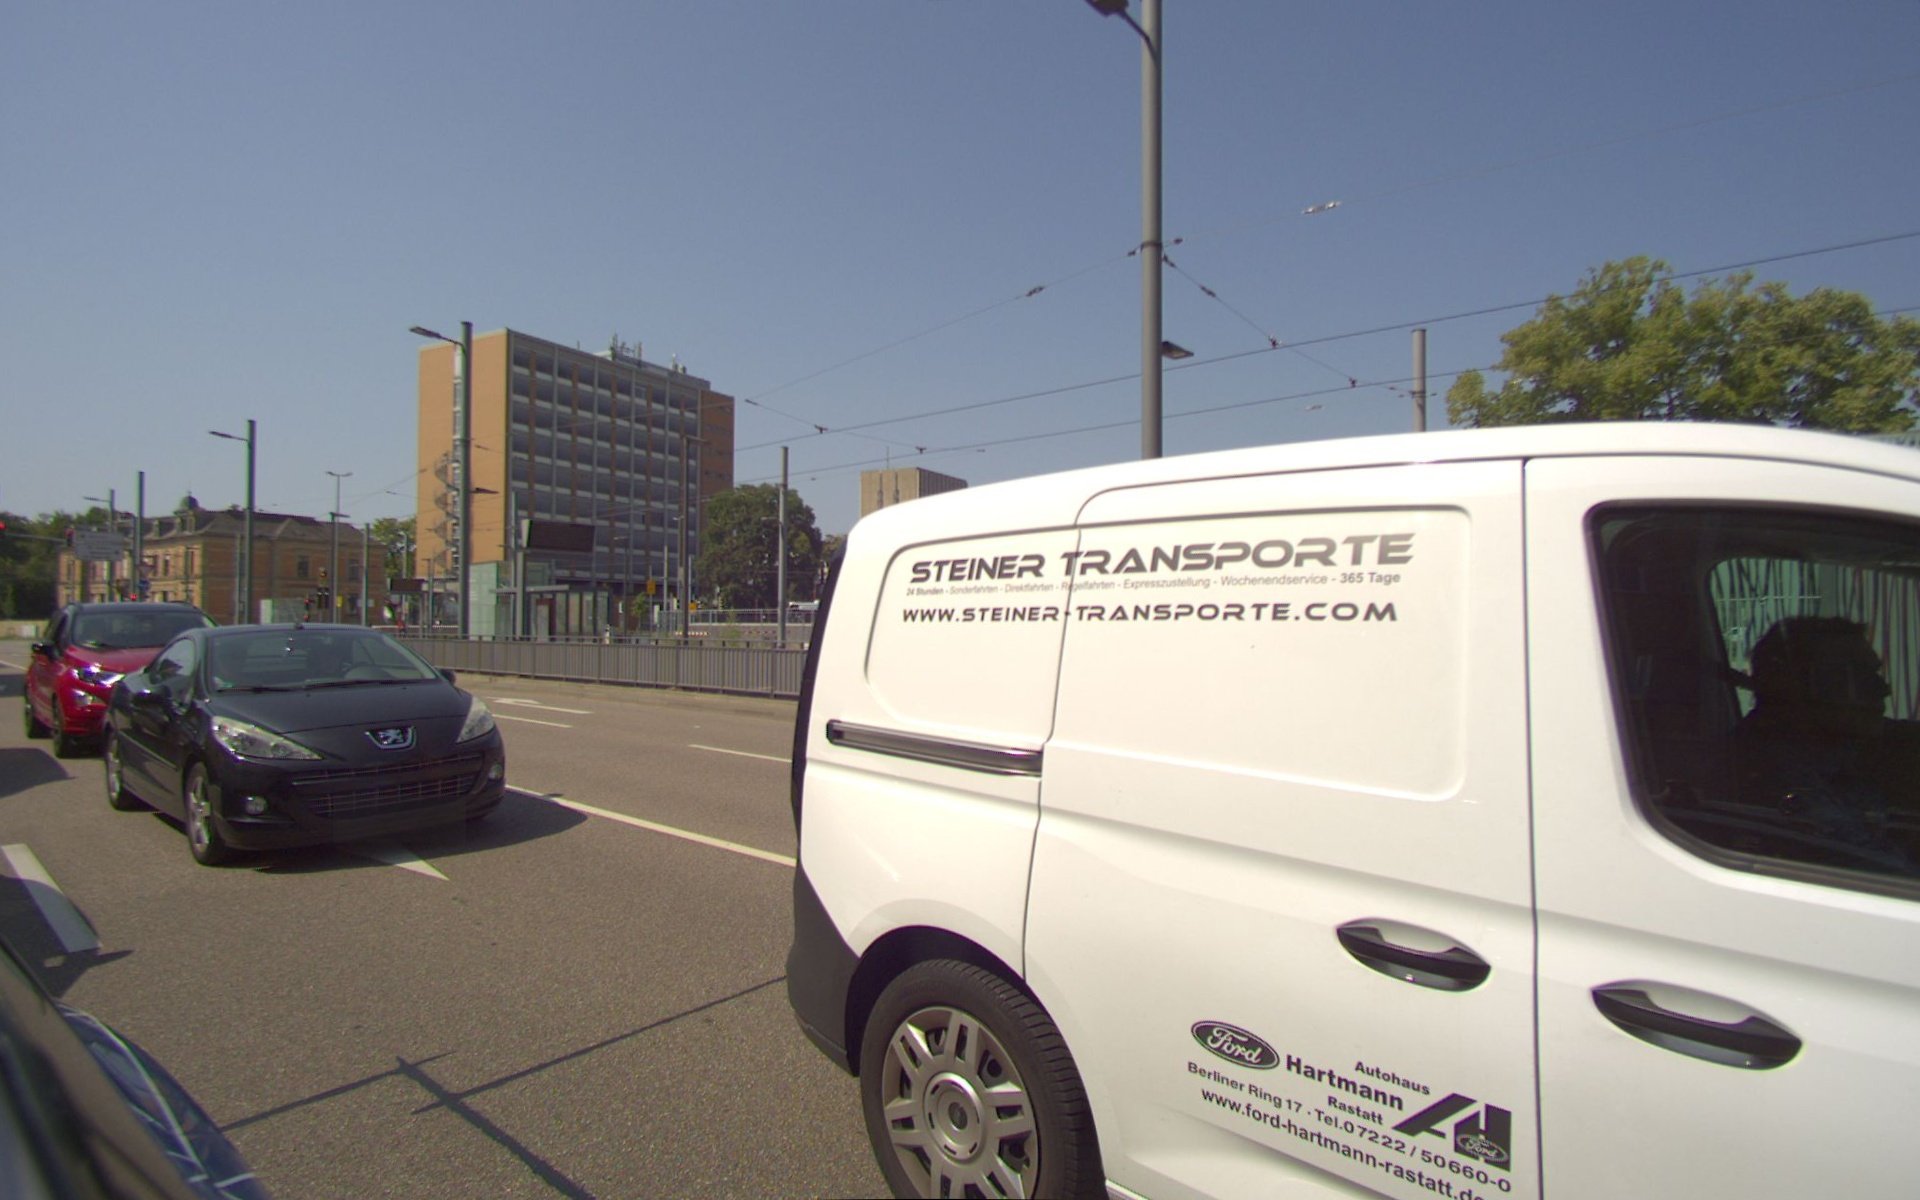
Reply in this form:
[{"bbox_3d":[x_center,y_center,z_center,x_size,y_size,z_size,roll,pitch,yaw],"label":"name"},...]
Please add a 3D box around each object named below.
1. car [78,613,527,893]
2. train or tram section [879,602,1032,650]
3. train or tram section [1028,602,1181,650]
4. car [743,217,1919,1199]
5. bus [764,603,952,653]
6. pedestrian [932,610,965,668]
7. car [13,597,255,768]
[{"bbox_3d":[-4.753,0.826,7.101,3.799,1.424,1.671,-1,-1,41],"label":"car"},{"bbox_3d":[-0.416,2.106,81.422,12.180,3.794,2.002,0,-2,-4],"label":"train or tram section"},{"bbox_3d":[11.715,2.144,82.325,12.180,3.794,2.002,0,-2,-4],"label":"train or tram section"},{"bbox_3d":[1.600,0.487,1.845,4.237,1.834,1.729,-1,-1,41],"label":"car"},{"bbox_3d":[-7.339,1.997,73.611,13.205,3.319,3.354,-1,0,-4],"label":"bus"},{"bbox_3d":[-0.354,1.244,32.247,0.761,1.801,0.735,-2,-3,42],"label":"pedestrian"},{"bbox_3d":[-9.561,0.823,11.604,3.967,1.633,1.612,-1,-1,42],"label":"car"}]
